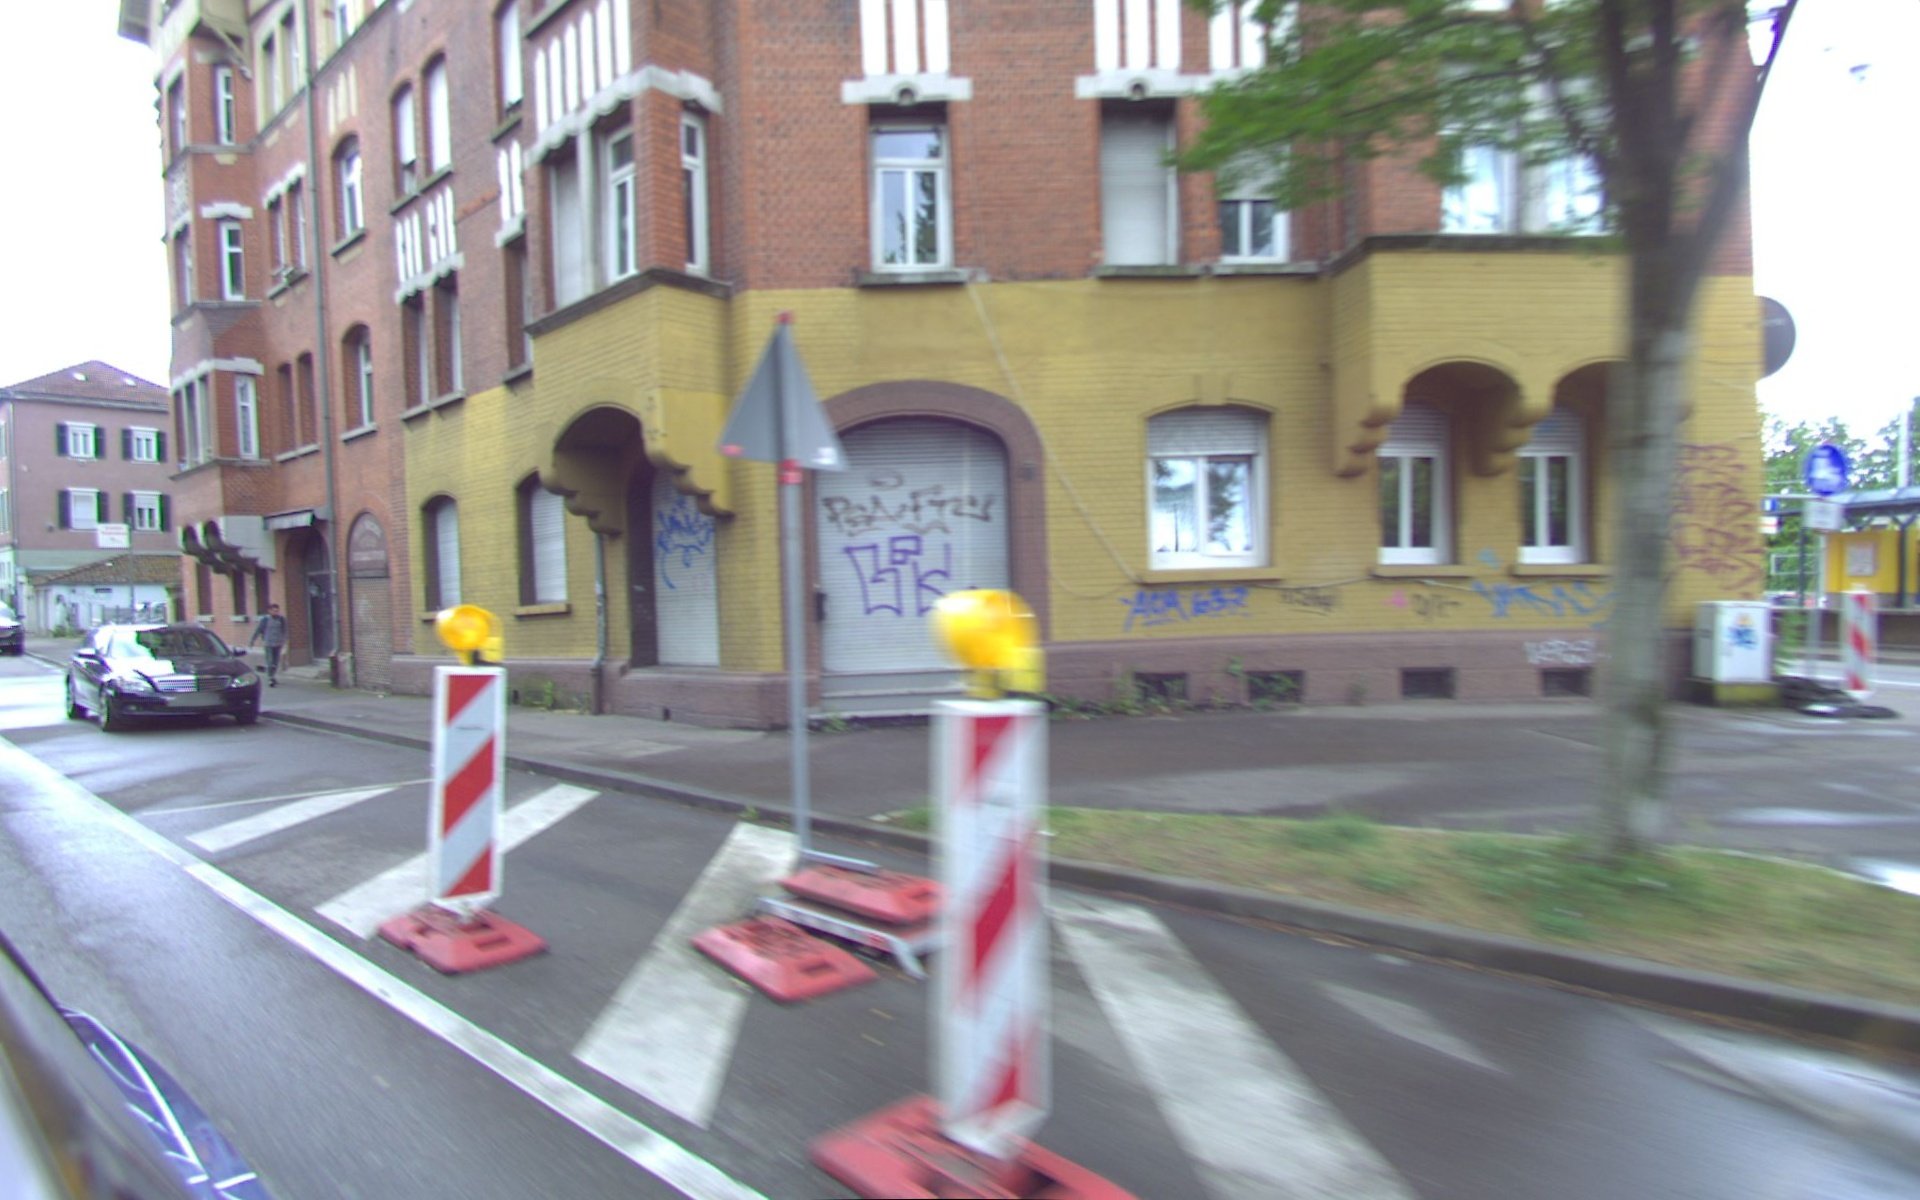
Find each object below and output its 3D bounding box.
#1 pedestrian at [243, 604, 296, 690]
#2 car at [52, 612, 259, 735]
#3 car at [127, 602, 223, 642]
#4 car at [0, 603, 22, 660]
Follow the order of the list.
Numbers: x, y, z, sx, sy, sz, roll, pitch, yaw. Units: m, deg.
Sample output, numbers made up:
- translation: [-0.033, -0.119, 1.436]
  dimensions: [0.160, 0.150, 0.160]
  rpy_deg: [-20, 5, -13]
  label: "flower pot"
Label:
- translation: [-13.575, 0.919, 19.895]
  dimensions: [0.632, 1.621, 0.653]
  rpy_deg: [-1, 2, 42]
  label: "pedestrian"
- translation: [-11.959, 1.018, 14.929]
  dimensions: [4.389, 1.497, 1.706]
  rpy_deg: [-3, 0, 43]
  label: "car"
- translation: [-32.093, 0.873, 41.422]
  dimensions: [1.853, 1.577, 2.817]
  rpy_deg: [0, -1, 41]
  label: "car"
- translation: [-31.628, 1.003, 32.345]
  dimensions: [4.771, 1.747, 1.933]
  rpy_deg: [-1, 0, 41]
  label: "car"
